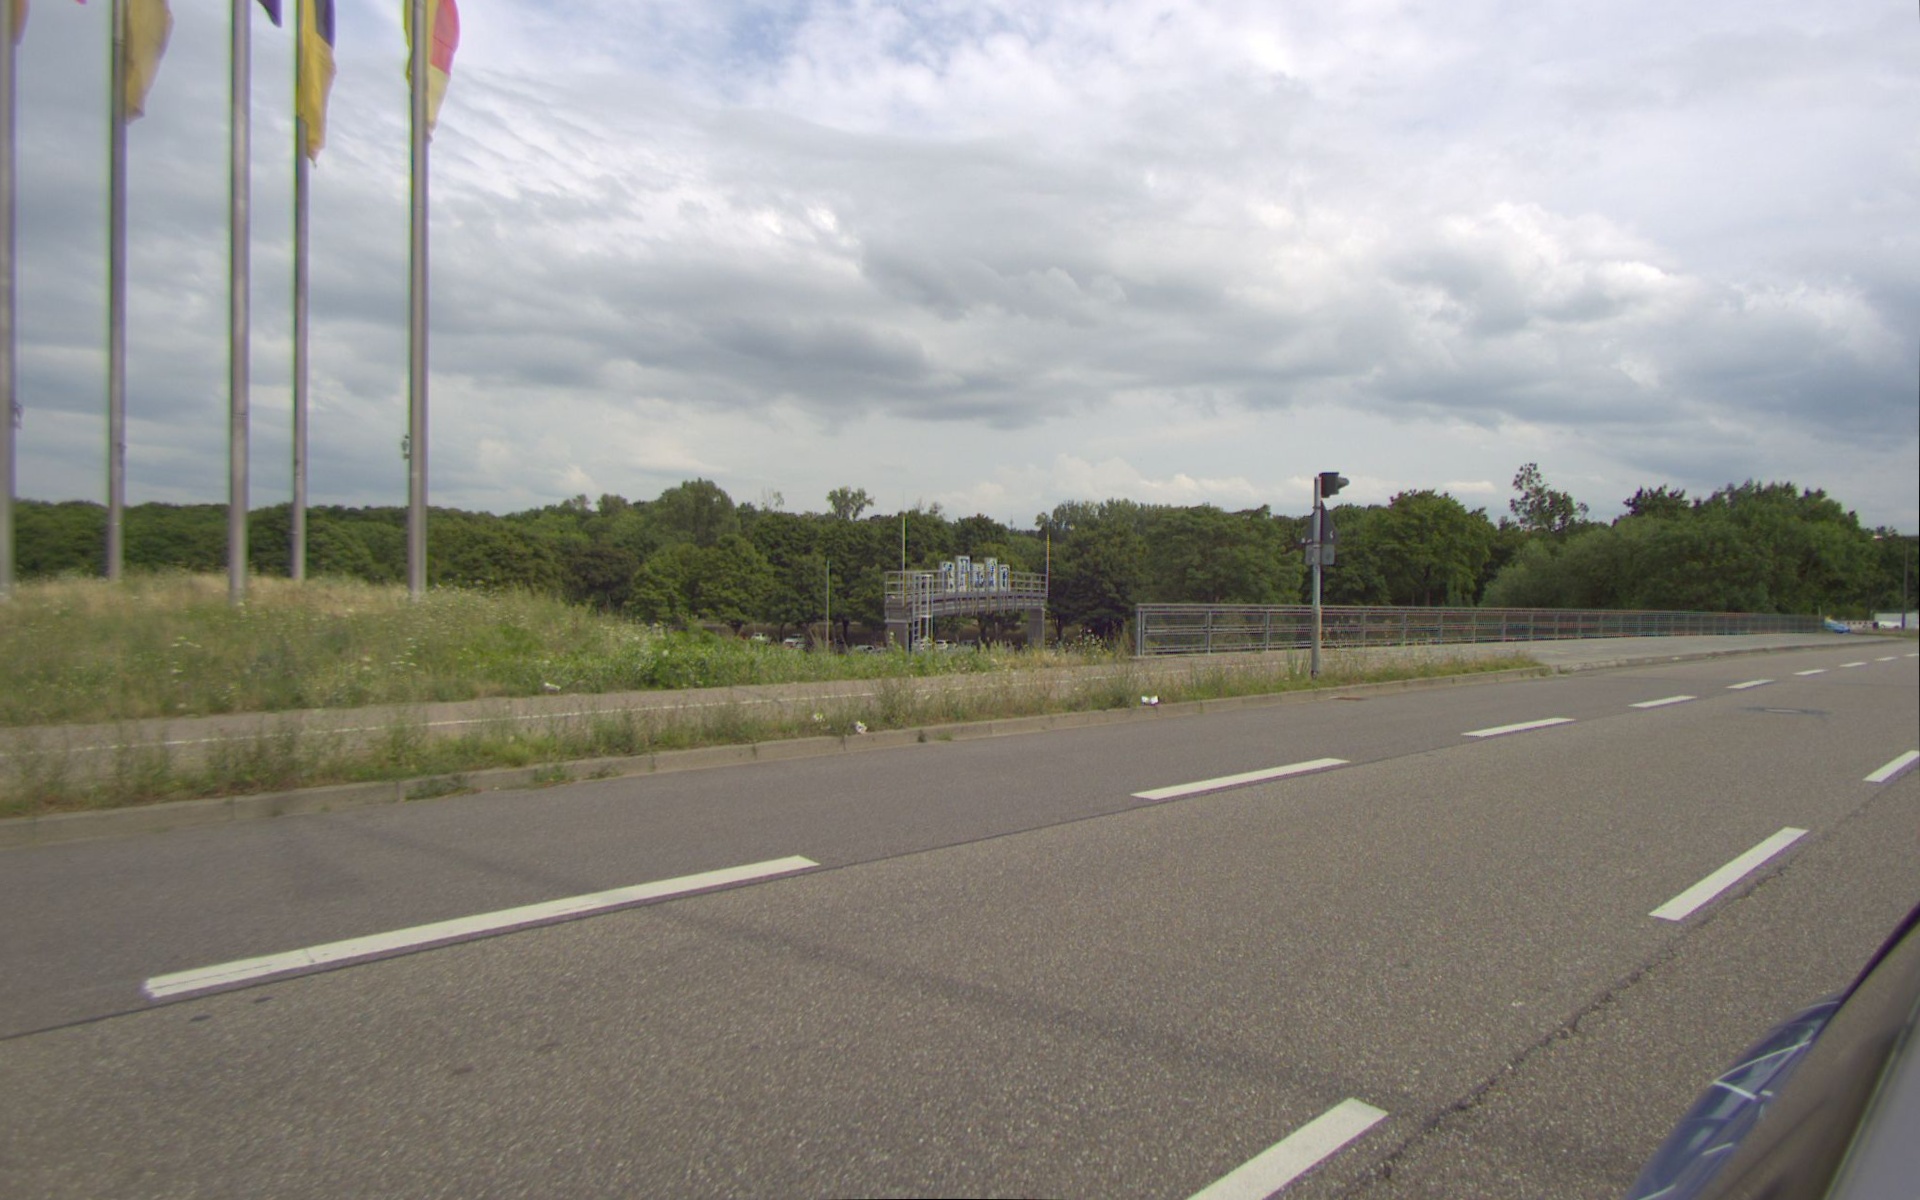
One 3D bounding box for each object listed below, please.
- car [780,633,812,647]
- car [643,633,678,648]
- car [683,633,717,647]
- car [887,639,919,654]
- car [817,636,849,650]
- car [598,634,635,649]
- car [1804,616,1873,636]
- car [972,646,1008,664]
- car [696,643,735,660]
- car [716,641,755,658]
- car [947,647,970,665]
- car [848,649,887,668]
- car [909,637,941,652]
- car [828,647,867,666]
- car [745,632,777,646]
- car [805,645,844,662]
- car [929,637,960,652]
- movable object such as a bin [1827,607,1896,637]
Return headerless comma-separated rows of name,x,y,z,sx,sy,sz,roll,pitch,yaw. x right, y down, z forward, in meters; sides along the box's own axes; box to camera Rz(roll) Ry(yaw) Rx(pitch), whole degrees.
car,-20.449,5.026,126.188,1.981,1.594,3.961,0,0,28
car,-36.897,4.987,124.808,1.982,1.594,3.960,0,0,28
car,-32.638,5.024,126.936,1.982,1.594,3.960,0,0,28
car,-6.677,5.430,119.278,1.981,1.594,3.961,0,0,28
car,-15.443,5.218,123.217,1.981,1.594,3.961,0,0,28
car,-41.210,4.949,121.542,1.982,1.594,3.960,0,0,28
car,72.286,2.143,83.362,1.840,1.537,4.007,0,0,-12
car,3.004,5.536,102.454,1.959,1.594,4.005,1,0,-27
car,-26.053,5.454,107.893,1.982,1.594,3.960,0,0,28
car,-23.671,5.238,106.927,1.982,1.594,3.960,0,0,28
car,-0.143,5.726,103.596,1.965,1.594,3.993,0,0,6
car,-9.077,5.740,99.830,1.982,1.594,3.960,0,0,28
car,-4.083,5.177,118.567,1.981,1.594,3.961,0,0,28
car,-11.200,5.606,100.927,1.982,1.594,3.960,0,0,28
car,-25.291,4.951,128.503,1.981,1.594,3.961,0,0,28
car,-13.716,5.403,102.491,1.982,1.594,3.960,0,0,28
car,-1.783,5.193,117.702,1.981,1.594,3.961,0,0,28
movable object such as a bin,84.731,2.008,95.137,2.062,2.723,4.515,1,0,-35
